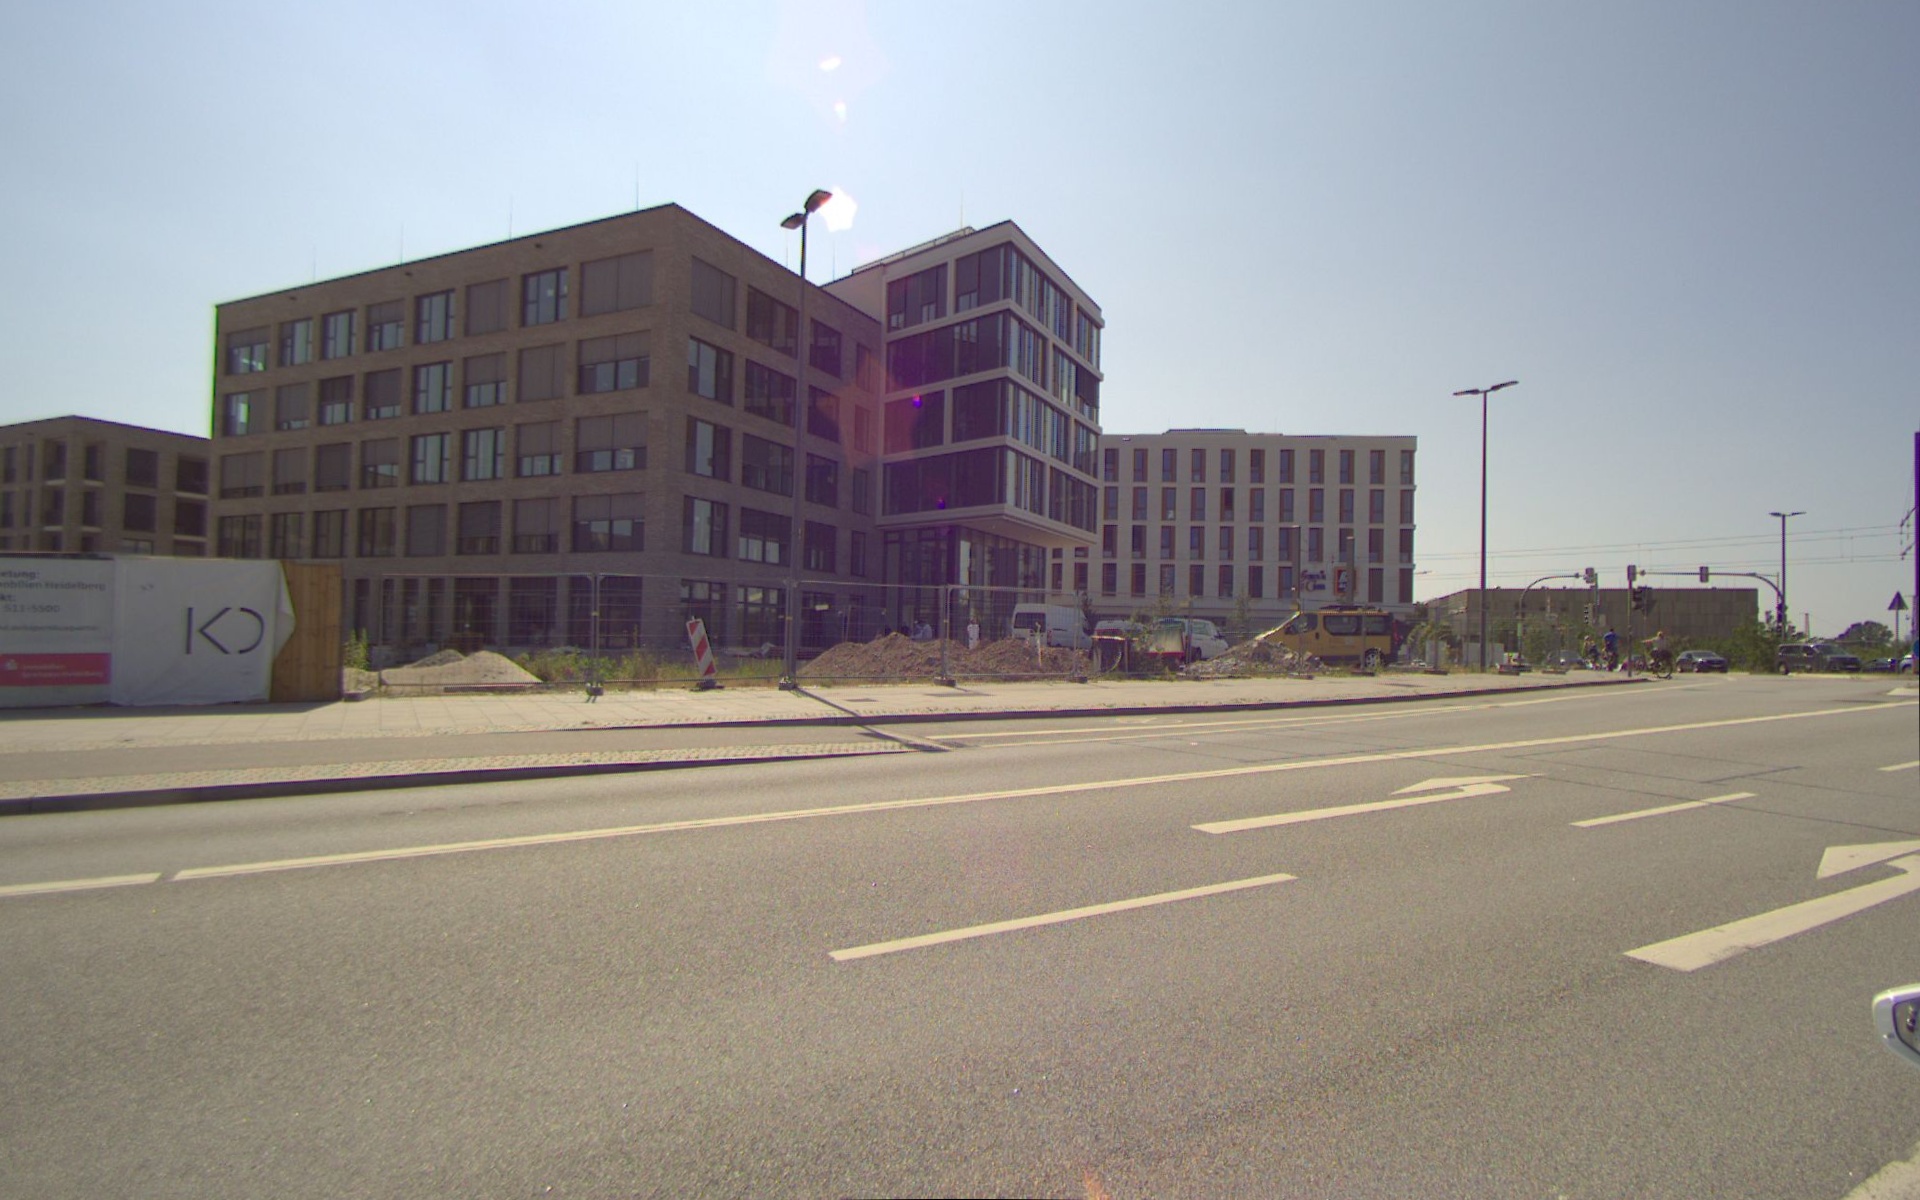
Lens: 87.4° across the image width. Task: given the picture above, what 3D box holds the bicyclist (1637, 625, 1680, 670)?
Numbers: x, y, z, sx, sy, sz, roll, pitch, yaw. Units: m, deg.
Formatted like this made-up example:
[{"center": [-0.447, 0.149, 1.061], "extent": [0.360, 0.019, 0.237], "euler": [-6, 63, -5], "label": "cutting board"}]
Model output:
[{"center": [25.465, 1.723, 36.640], "extent": [0.810, 1.589, 0.944], "euler": [2, 0, -19], "label": "bicyclist"}]

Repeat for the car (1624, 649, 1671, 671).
[{"center": [54.511, 4.753, 79.676], "extent": [1.650, 1.475, 4.002], "euler": [2, 0, 13], "label": "car"}]

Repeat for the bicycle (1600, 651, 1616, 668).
[{"center": [29.276, 2.670, 45.384], "extent": [0.507, 0.701, 2.249], "euler": [1, -1, 30], "label": "bicycle"}]

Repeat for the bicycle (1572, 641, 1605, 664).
[{"center": [30.146, 2.512, 48.231], "extent": [0.593, 1.020, 2.514], "euler": [2, -1, 15], "label": "bicycle"}]

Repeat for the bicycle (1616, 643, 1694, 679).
[{"center": [25.397, 2.206, 36.762], "extent": [0.667, 1.142, 2.354], "euler": [2, 0, -20], "label": "bicycle"}]

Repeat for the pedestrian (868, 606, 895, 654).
[{"center": [-3.401, 1.284, 43.379], "extent": [0.949, 2.040, 0.940], "euler": [2, 0, -17], "label": "pedestrian"}]

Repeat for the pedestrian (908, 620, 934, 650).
[{"center": [-1.921, 1.708, 49.389], "extent": [1.099, 1.391, 0.742], "euler": [2, 0, -17], "label": "pedestrian"}]

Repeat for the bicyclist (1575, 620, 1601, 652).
[{"center": [30.146, 1.724, 48.216], "extent": [0.826, 1.522, 0.659], "euler": [2, 0, 14], "label": "bicyclist"}]

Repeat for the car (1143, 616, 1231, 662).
[{"center": [9.601, 1.621, 42.192], "extent": [1.969, 1.730, 4.546], "euler": [2, 0, 35], "label": "car"}]

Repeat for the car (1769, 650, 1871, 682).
[{"center": [48.864, 3.720, 57.196], "extent": [1.961, 1.475, 4.486], "euler": [2, 0, 0], "label": "car"}]

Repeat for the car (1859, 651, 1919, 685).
[{"center": [60.888, 4.385, 65.081], "extent": [1.960, 2.040, 4.002], "euler": [1, -1, 5], "label": "car"}]

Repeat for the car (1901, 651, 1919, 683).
[{"center": [45.318, 3.142, 45.801], "extent": [1.559, 1.458, 3.146], "euler": [2, 0, -13], "label": "car"}]

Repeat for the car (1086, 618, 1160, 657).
[{"center": [7.143, 1.604, 43.732], "extent": [1.773, 1.528, 3.991], "euler": [2, 0, 31], "label": "car"}]

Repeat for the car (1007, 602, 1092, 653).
[{"center": [4.027, 1.228, 44.674], "extent": [2.175, 2.083, 4.164], "euler": [2, 0, 30], "label": "car"}]

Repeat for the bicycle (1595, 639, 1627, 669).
[{"center": [26.925, 2.215, 41.576], "extent": [0.715, 1.148, 2.530], "euler": [-5, -4, 26], "label": "bicycle"}]

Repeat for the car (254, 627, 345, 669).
[{"center": [-30.412, 2.177, 46.235], "extent": [3.708, 1.675, 1.834], "euler": [2, 0, 26], "label": "car"}]

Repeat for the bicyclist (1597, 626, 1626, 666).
[{"center": [26.835, 1.883, 41.403], "extent": [0.847, 1.580, 0.824], "euler": [2, 0, 26], "label": "bicyclist"}]

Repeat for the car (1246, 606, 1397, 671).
[{"center": [12.054, 1.250, 33.753], "extent": [4.395, 1.915, 2.001], "euler": [2, 0, 8], "label": "car"}]

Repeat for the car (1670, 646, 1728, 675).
[{"center": [50.636, 4.124, 68.941], "extent": [1.683, 1.764, 4.214], "euler": [2, 0, 14], "label": "car"}]

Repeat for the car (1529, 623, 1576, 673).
[{"center": [26.281, 2.087, 44.635], "extent": [1.645, 2.040, 3.993], "euler": [2, 0, 29], "label": "car"}]

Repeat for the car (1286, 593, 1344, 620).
[{"center": [28.995, 0.486, 82.034], "extent": [1.986, 2.040, 3.949], "euler": [2, 0, -43], "label": "car"}]
